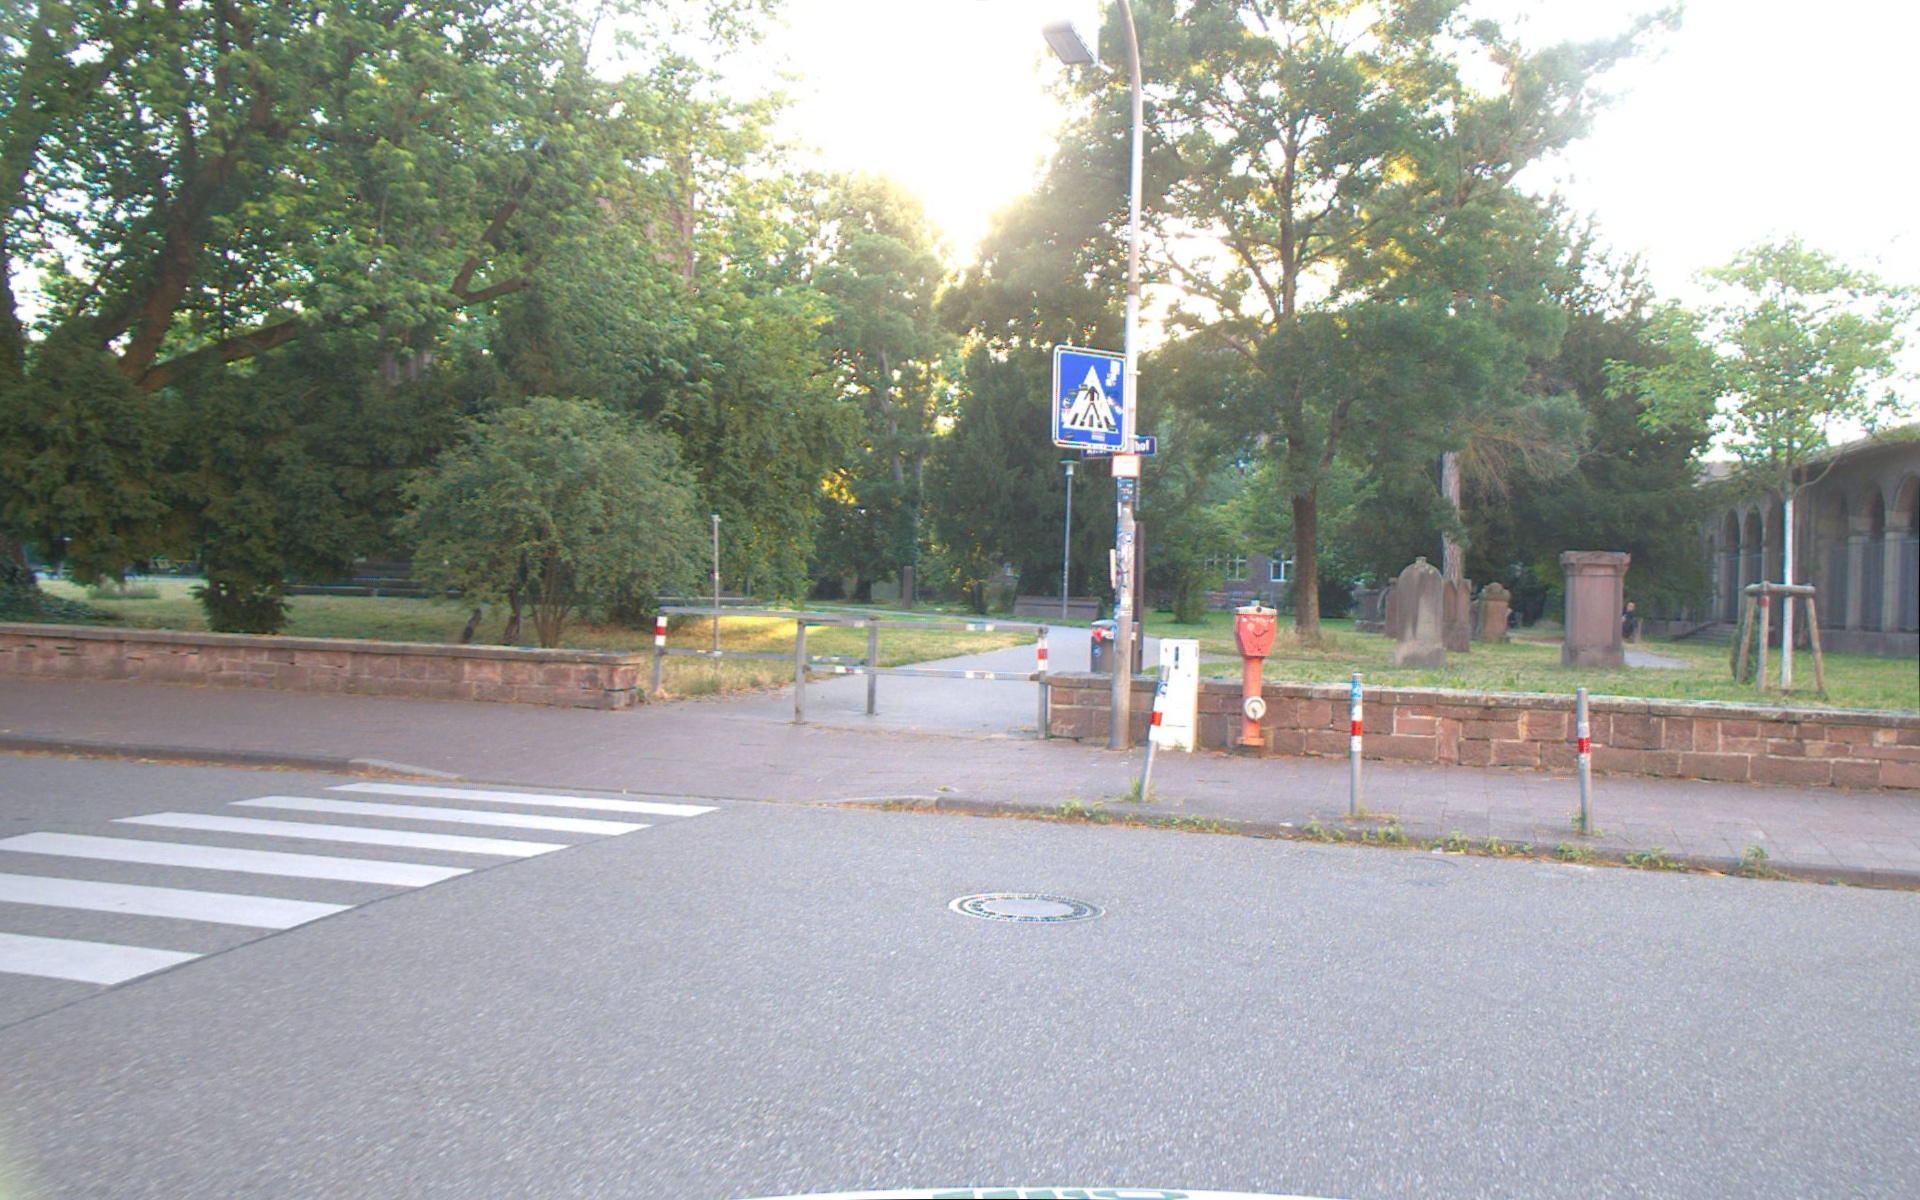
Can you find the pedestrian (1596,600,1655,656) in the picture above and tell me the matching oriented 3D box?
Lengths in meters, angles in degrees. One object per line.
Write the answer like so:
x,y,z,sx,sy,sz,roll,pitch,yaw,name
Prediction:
18.146,0.752,45.114,1.300,1.469,1.047,2,0,13,pedestrian
